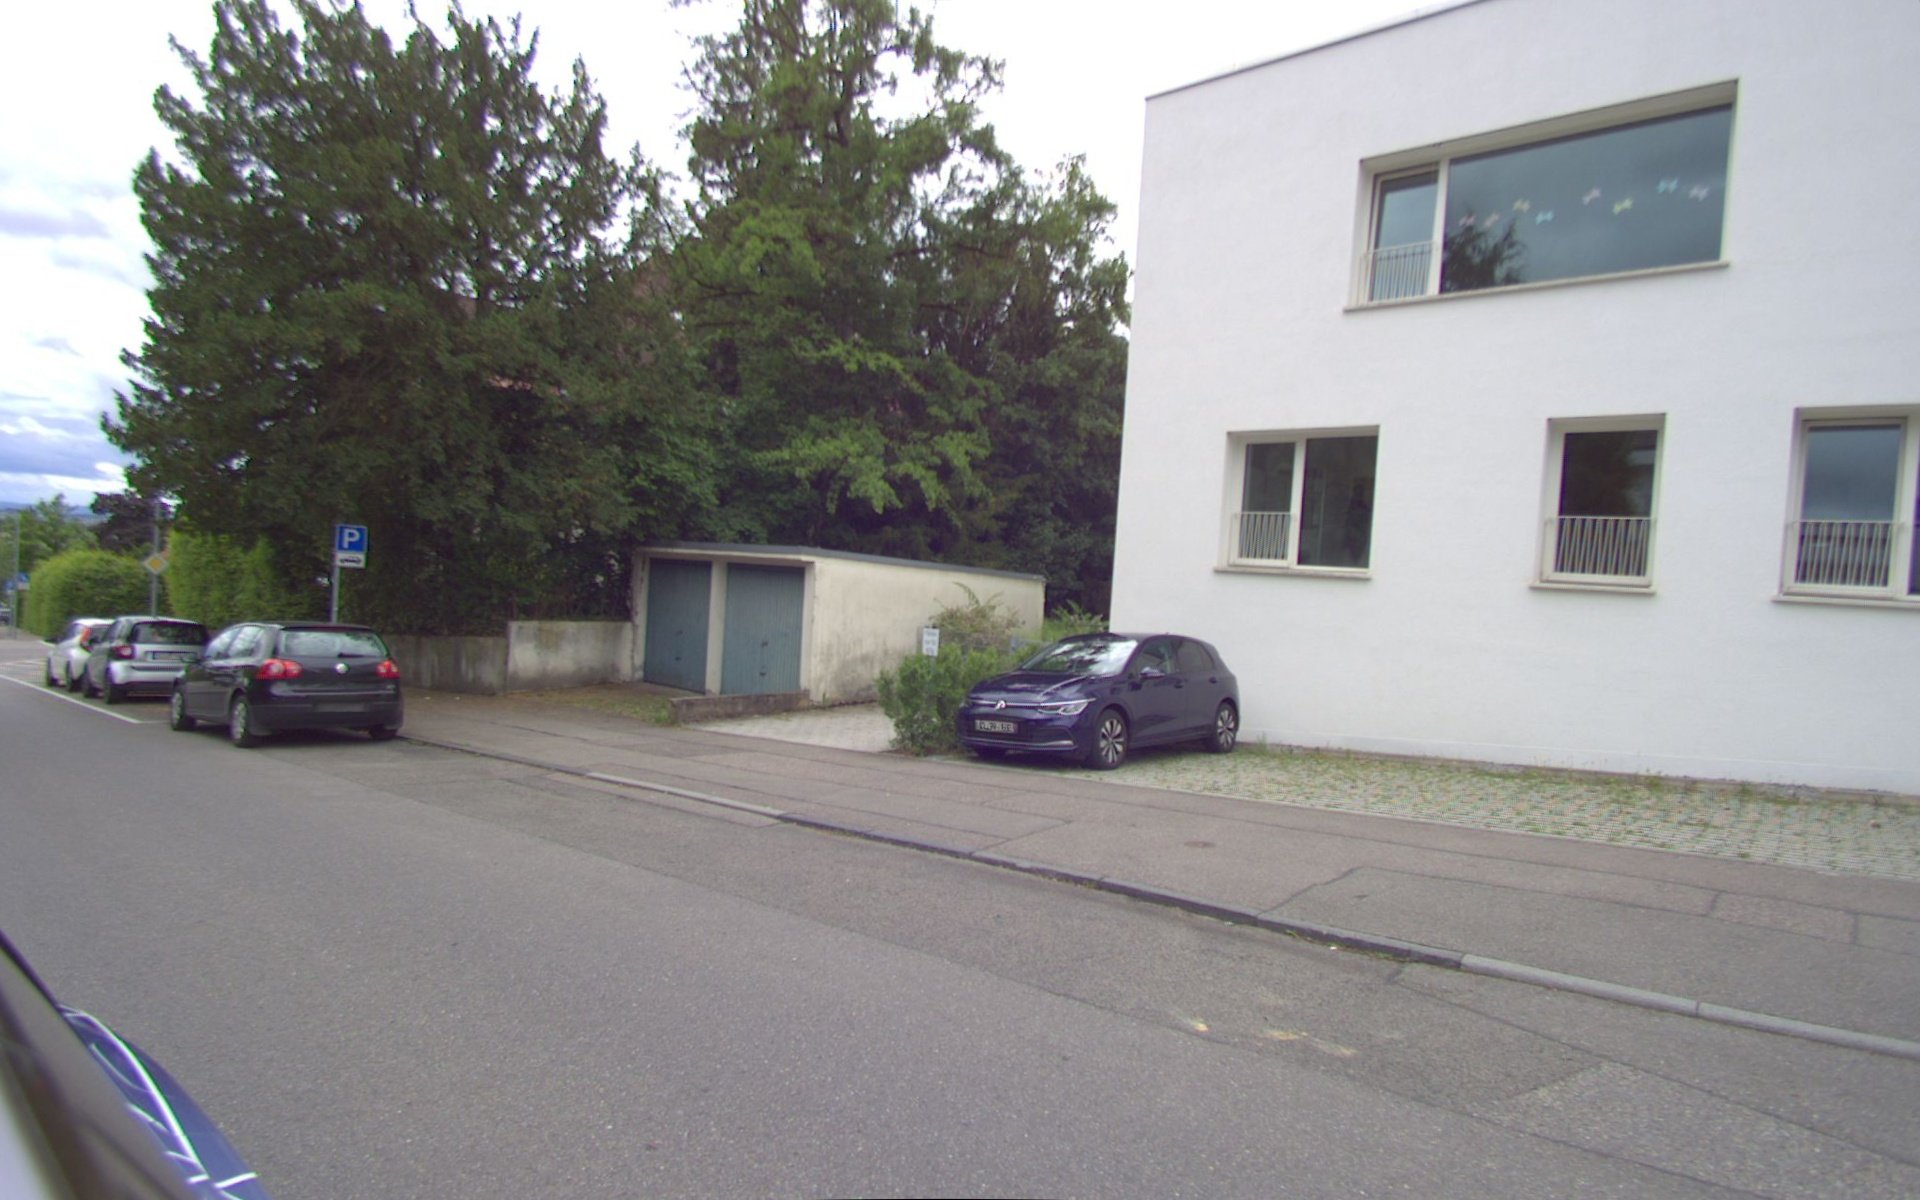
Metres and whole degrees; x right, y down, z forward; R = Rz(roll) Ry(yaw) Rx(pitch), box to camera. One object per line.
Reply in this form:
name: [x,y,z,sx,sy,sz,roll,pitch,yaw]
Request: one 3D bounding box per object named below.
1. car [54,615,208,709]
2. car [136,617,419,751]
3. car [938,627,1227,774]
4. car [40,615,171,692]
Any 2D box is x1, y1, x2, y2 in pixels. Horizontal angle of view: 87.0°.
car: [-15.115,1.063,18.426,2.973,1.530,1.607,0,-2,40]
car: [-9.125,0.986,13.371,4.678,1.481,1.832,-1,-3,40]
car: [1.554,1.012,11.617,1.738,1.364,3.761,0,-2,35]
car: [-17.907,1.083,21.165,3.515,1.459,1.725,0,-3,44]
